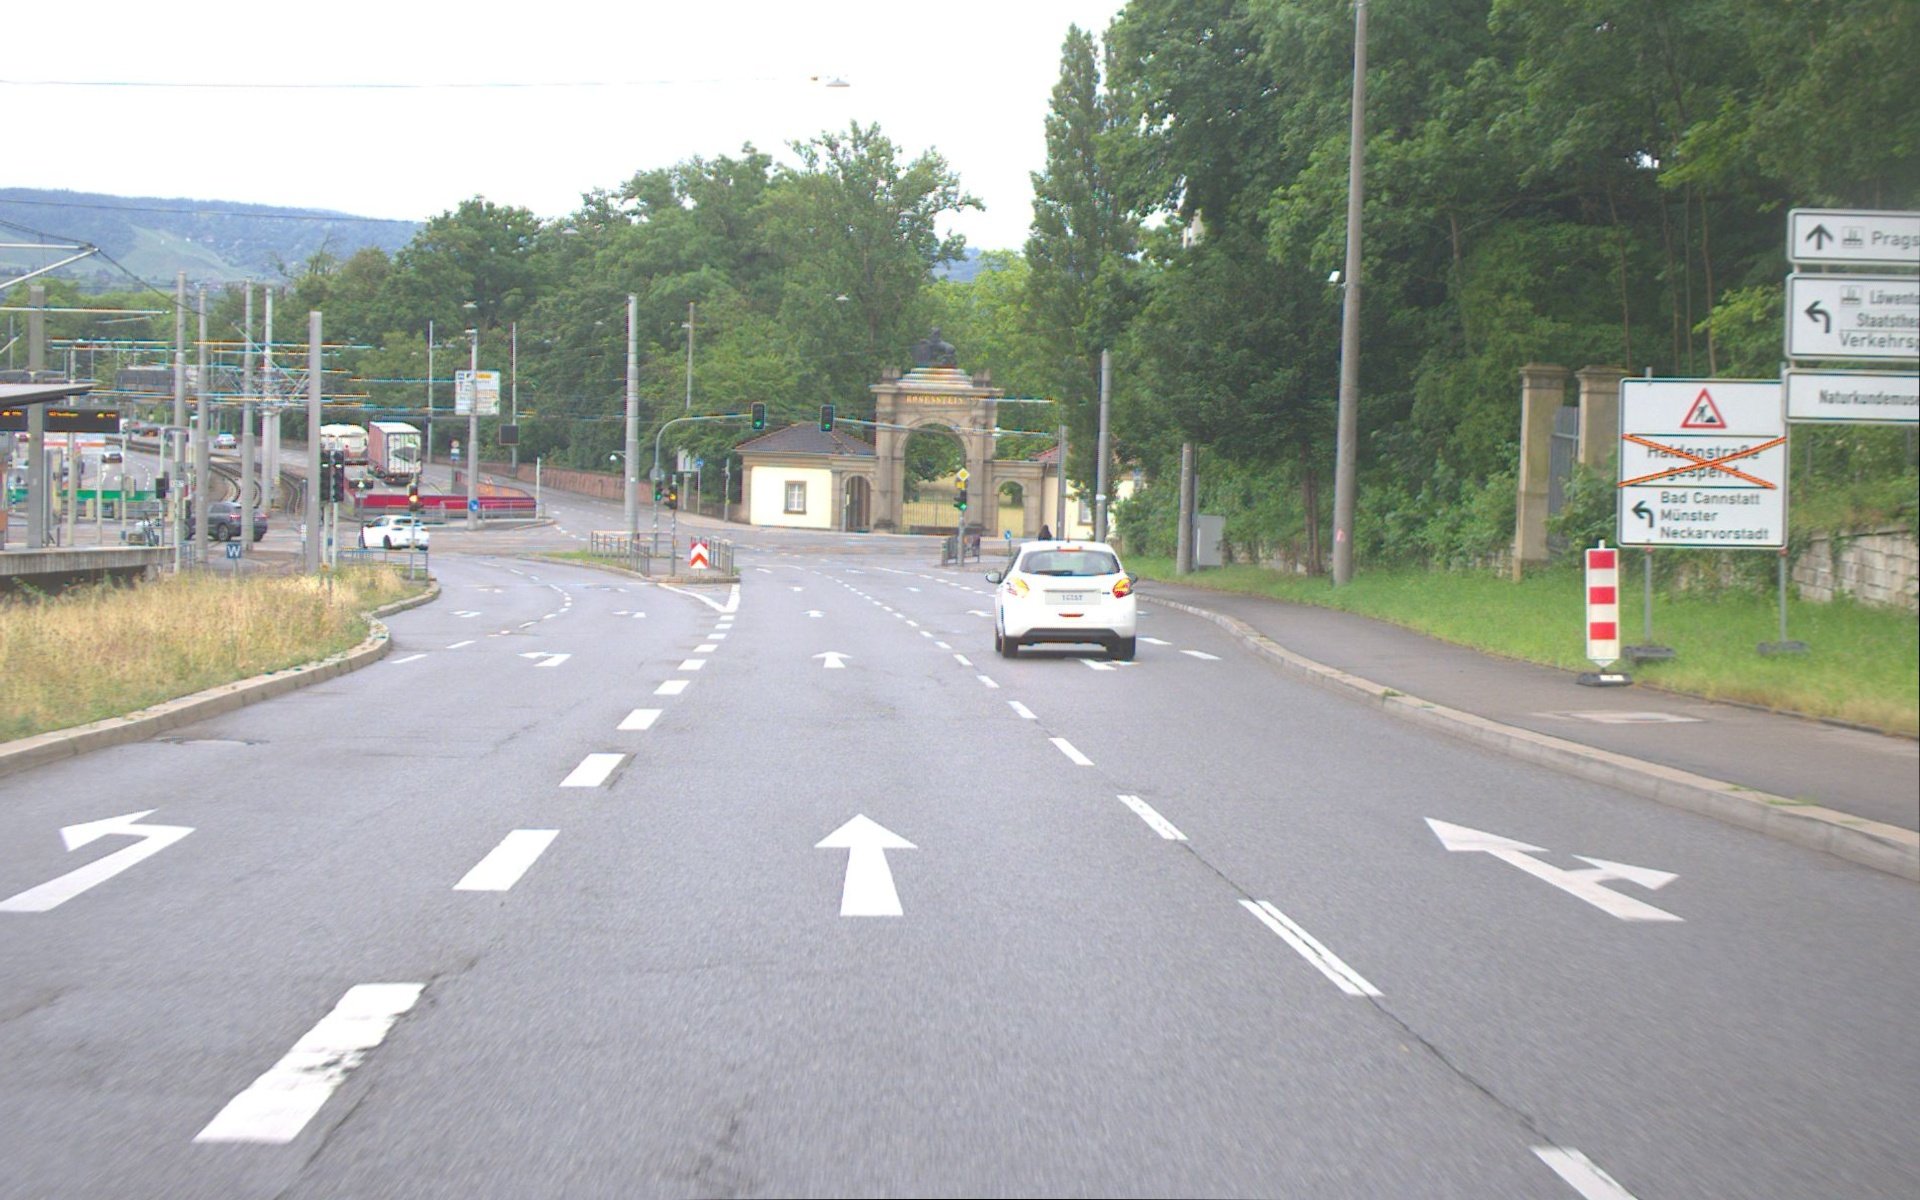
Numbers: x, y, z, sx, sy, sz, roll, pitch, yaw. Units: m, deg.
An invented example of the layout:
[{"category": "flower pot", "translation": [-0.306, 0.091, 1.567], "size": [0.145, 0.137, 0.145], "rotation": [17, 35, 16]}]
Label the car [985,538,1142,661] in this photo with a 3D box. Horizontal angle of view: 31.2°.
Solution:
[{"category": "car", "translation": [1.282, -0.025, 44.102], "size": [1.868, 1.506, 3.900], "rotation": [0, 0, 0]}]

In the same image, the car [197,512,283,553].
[{"category": "car", "translation": [-30.902, -2.895, 147.458], "size": [1.994, 1.700, 3.999], "rotation": [0, 2, -39]}]

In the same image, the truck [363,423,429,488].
[{"category": "truck", "translation": [-42.471, -10.813, 258.567], "size": [3.413, 4.555, 11.291], "rotation": [4, 1, -16]}]

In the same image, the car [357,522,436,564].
[{"category": "car", "translation": [-22.532, -2.296, 137.422], "size": [1.822, 1.600, 4.000], "rotation": [0, 2, -30]}]
